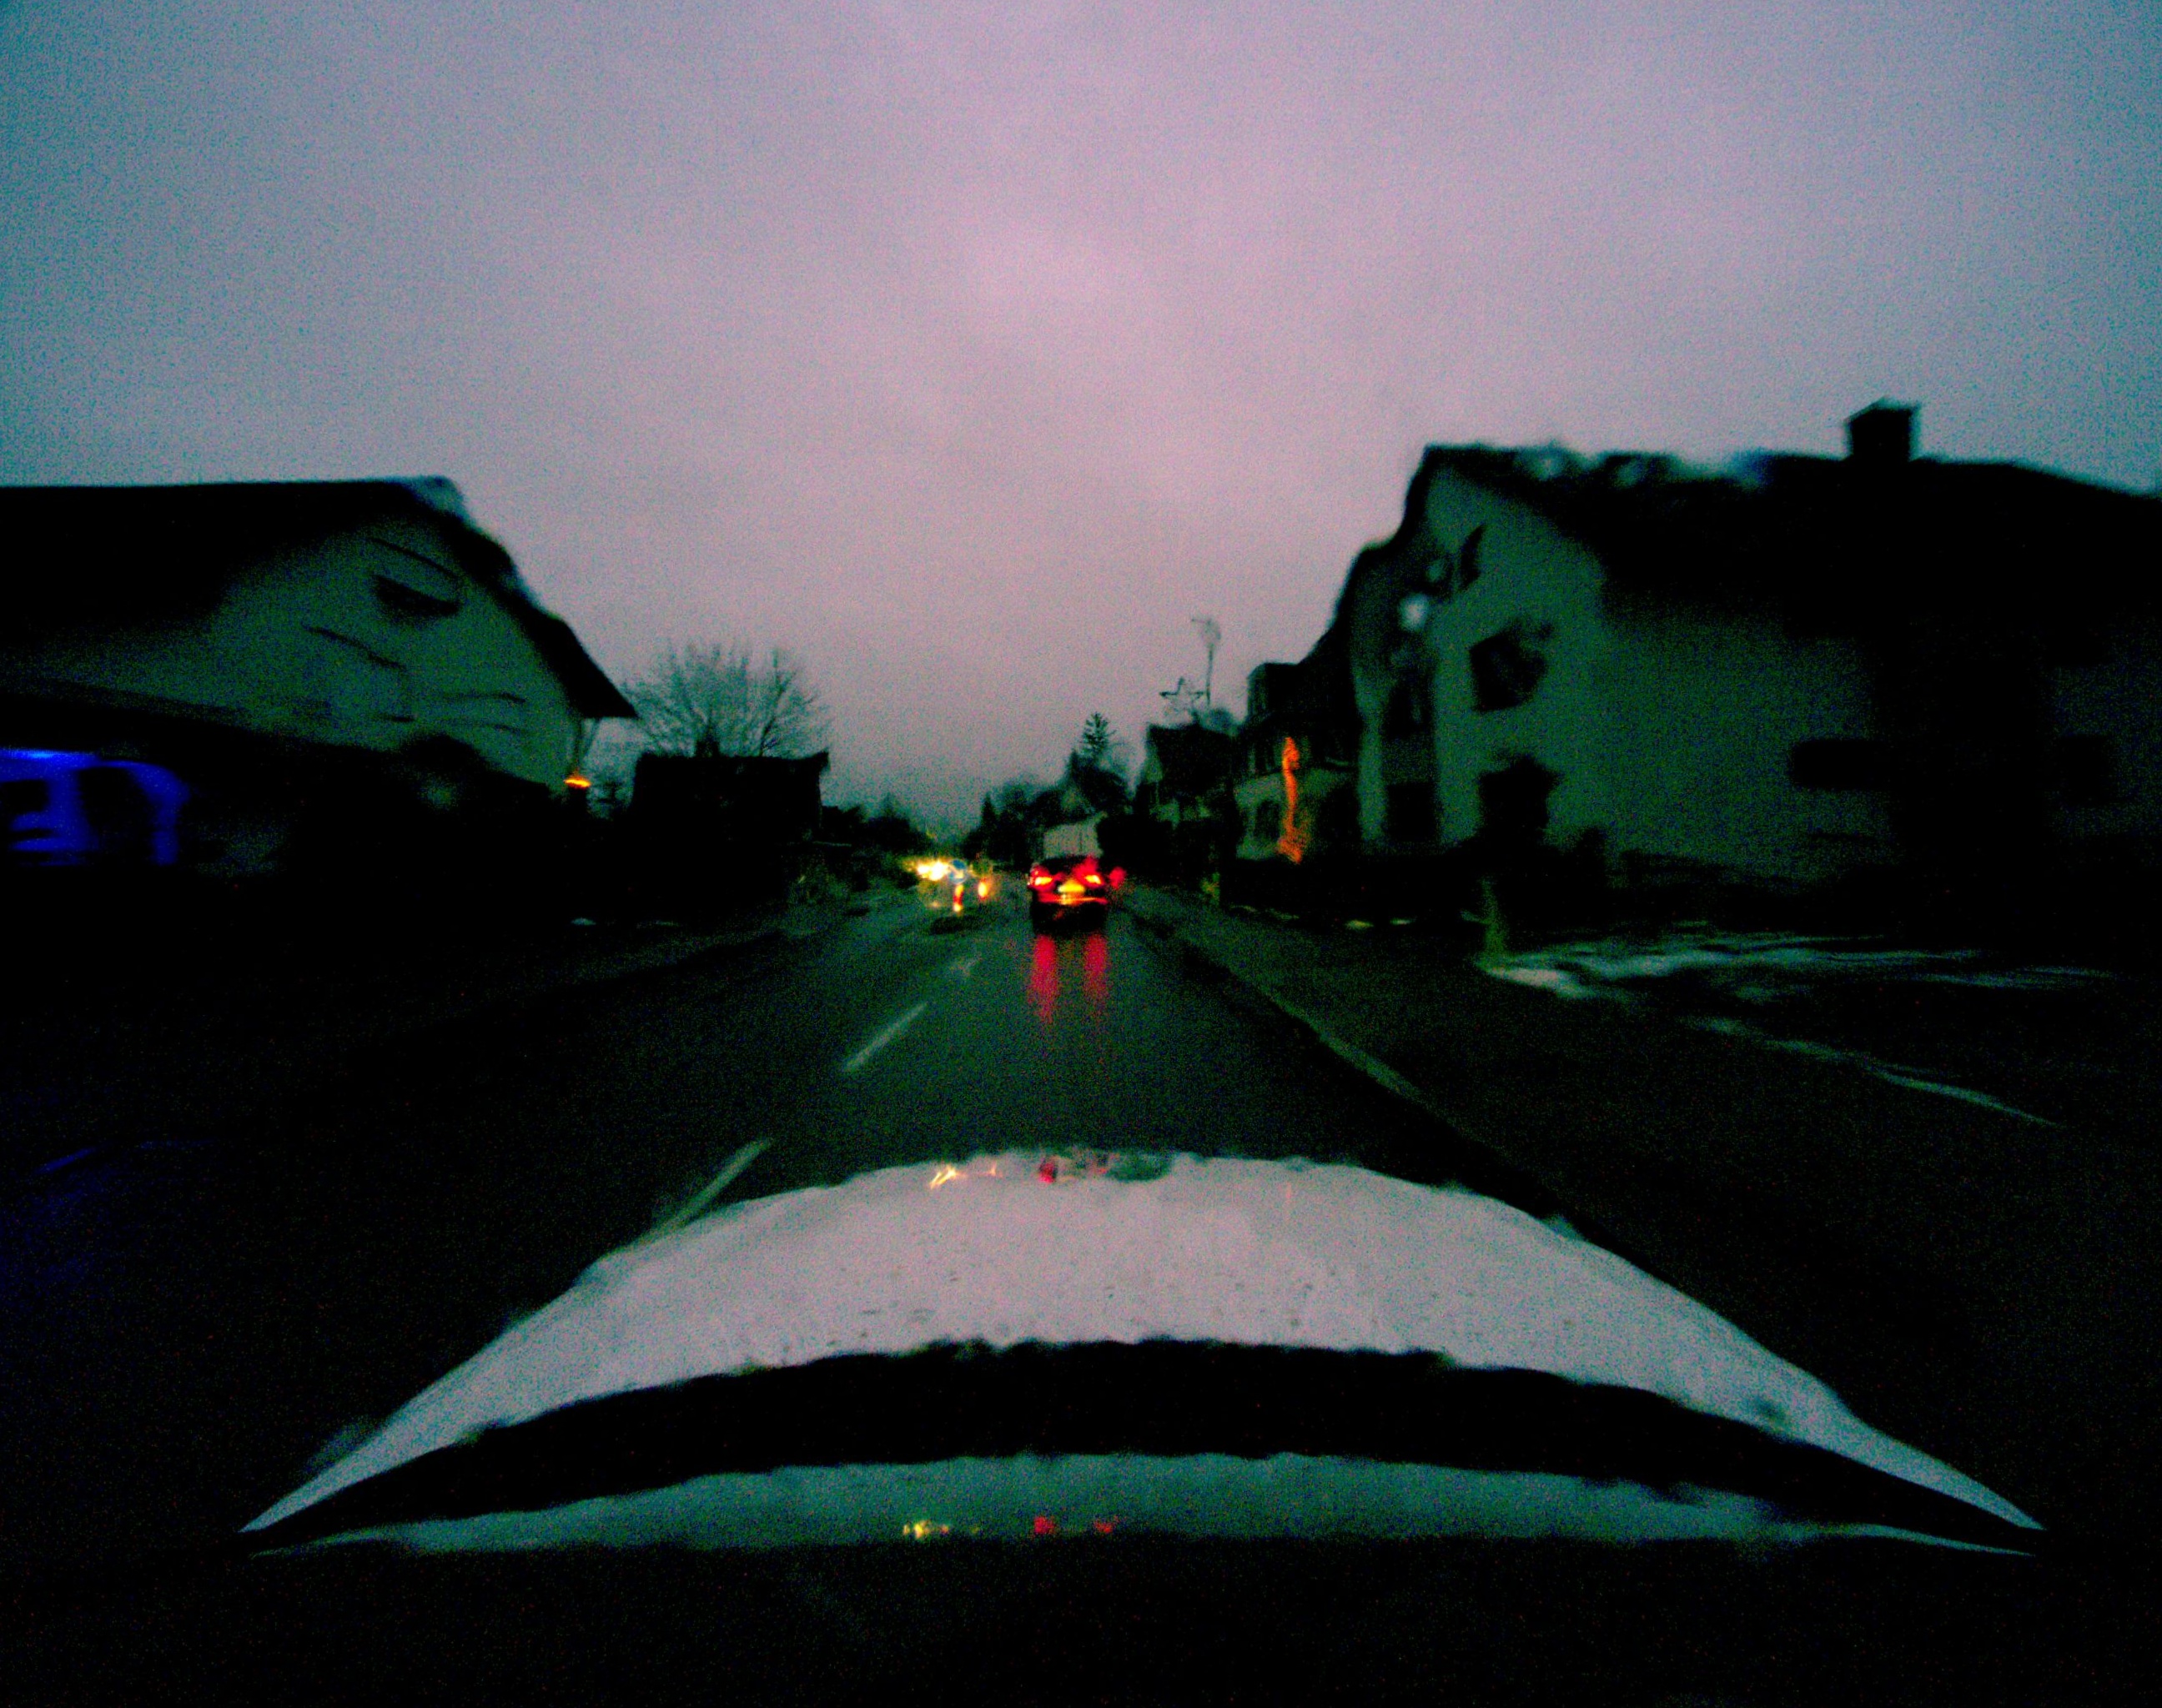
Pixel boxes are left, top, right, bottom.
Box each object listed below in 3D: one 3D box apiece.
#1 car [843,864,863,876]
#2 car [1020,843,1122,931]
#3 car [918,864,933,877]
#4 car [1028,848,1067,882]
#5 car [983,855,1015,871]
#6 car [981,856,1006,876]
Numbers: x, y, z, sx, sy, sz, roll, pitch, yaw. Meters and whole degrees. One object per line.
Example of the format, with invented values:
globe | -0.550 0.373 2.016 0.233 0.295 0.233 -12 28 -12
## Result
car | -27.598 1.911 98.411 1.785 1.393 3.968 0 -2 -24
car | -0.317 0.797 21.487 2.304 1.938 5.014 -2 -1 -2
car | -20.801 2.225 108.988 1.824 1.554 3.984 -3 0 -11
car | -1.807 0.552 42.530 1.855 1.647 3.993 -1 0 -5
car | -11.204 1.262 111.138 4.246 2.013 1.805 -2 0 -10
car | -9.278 1.229 85.618 2.309 1.938 5.001 -2 -1 -9
